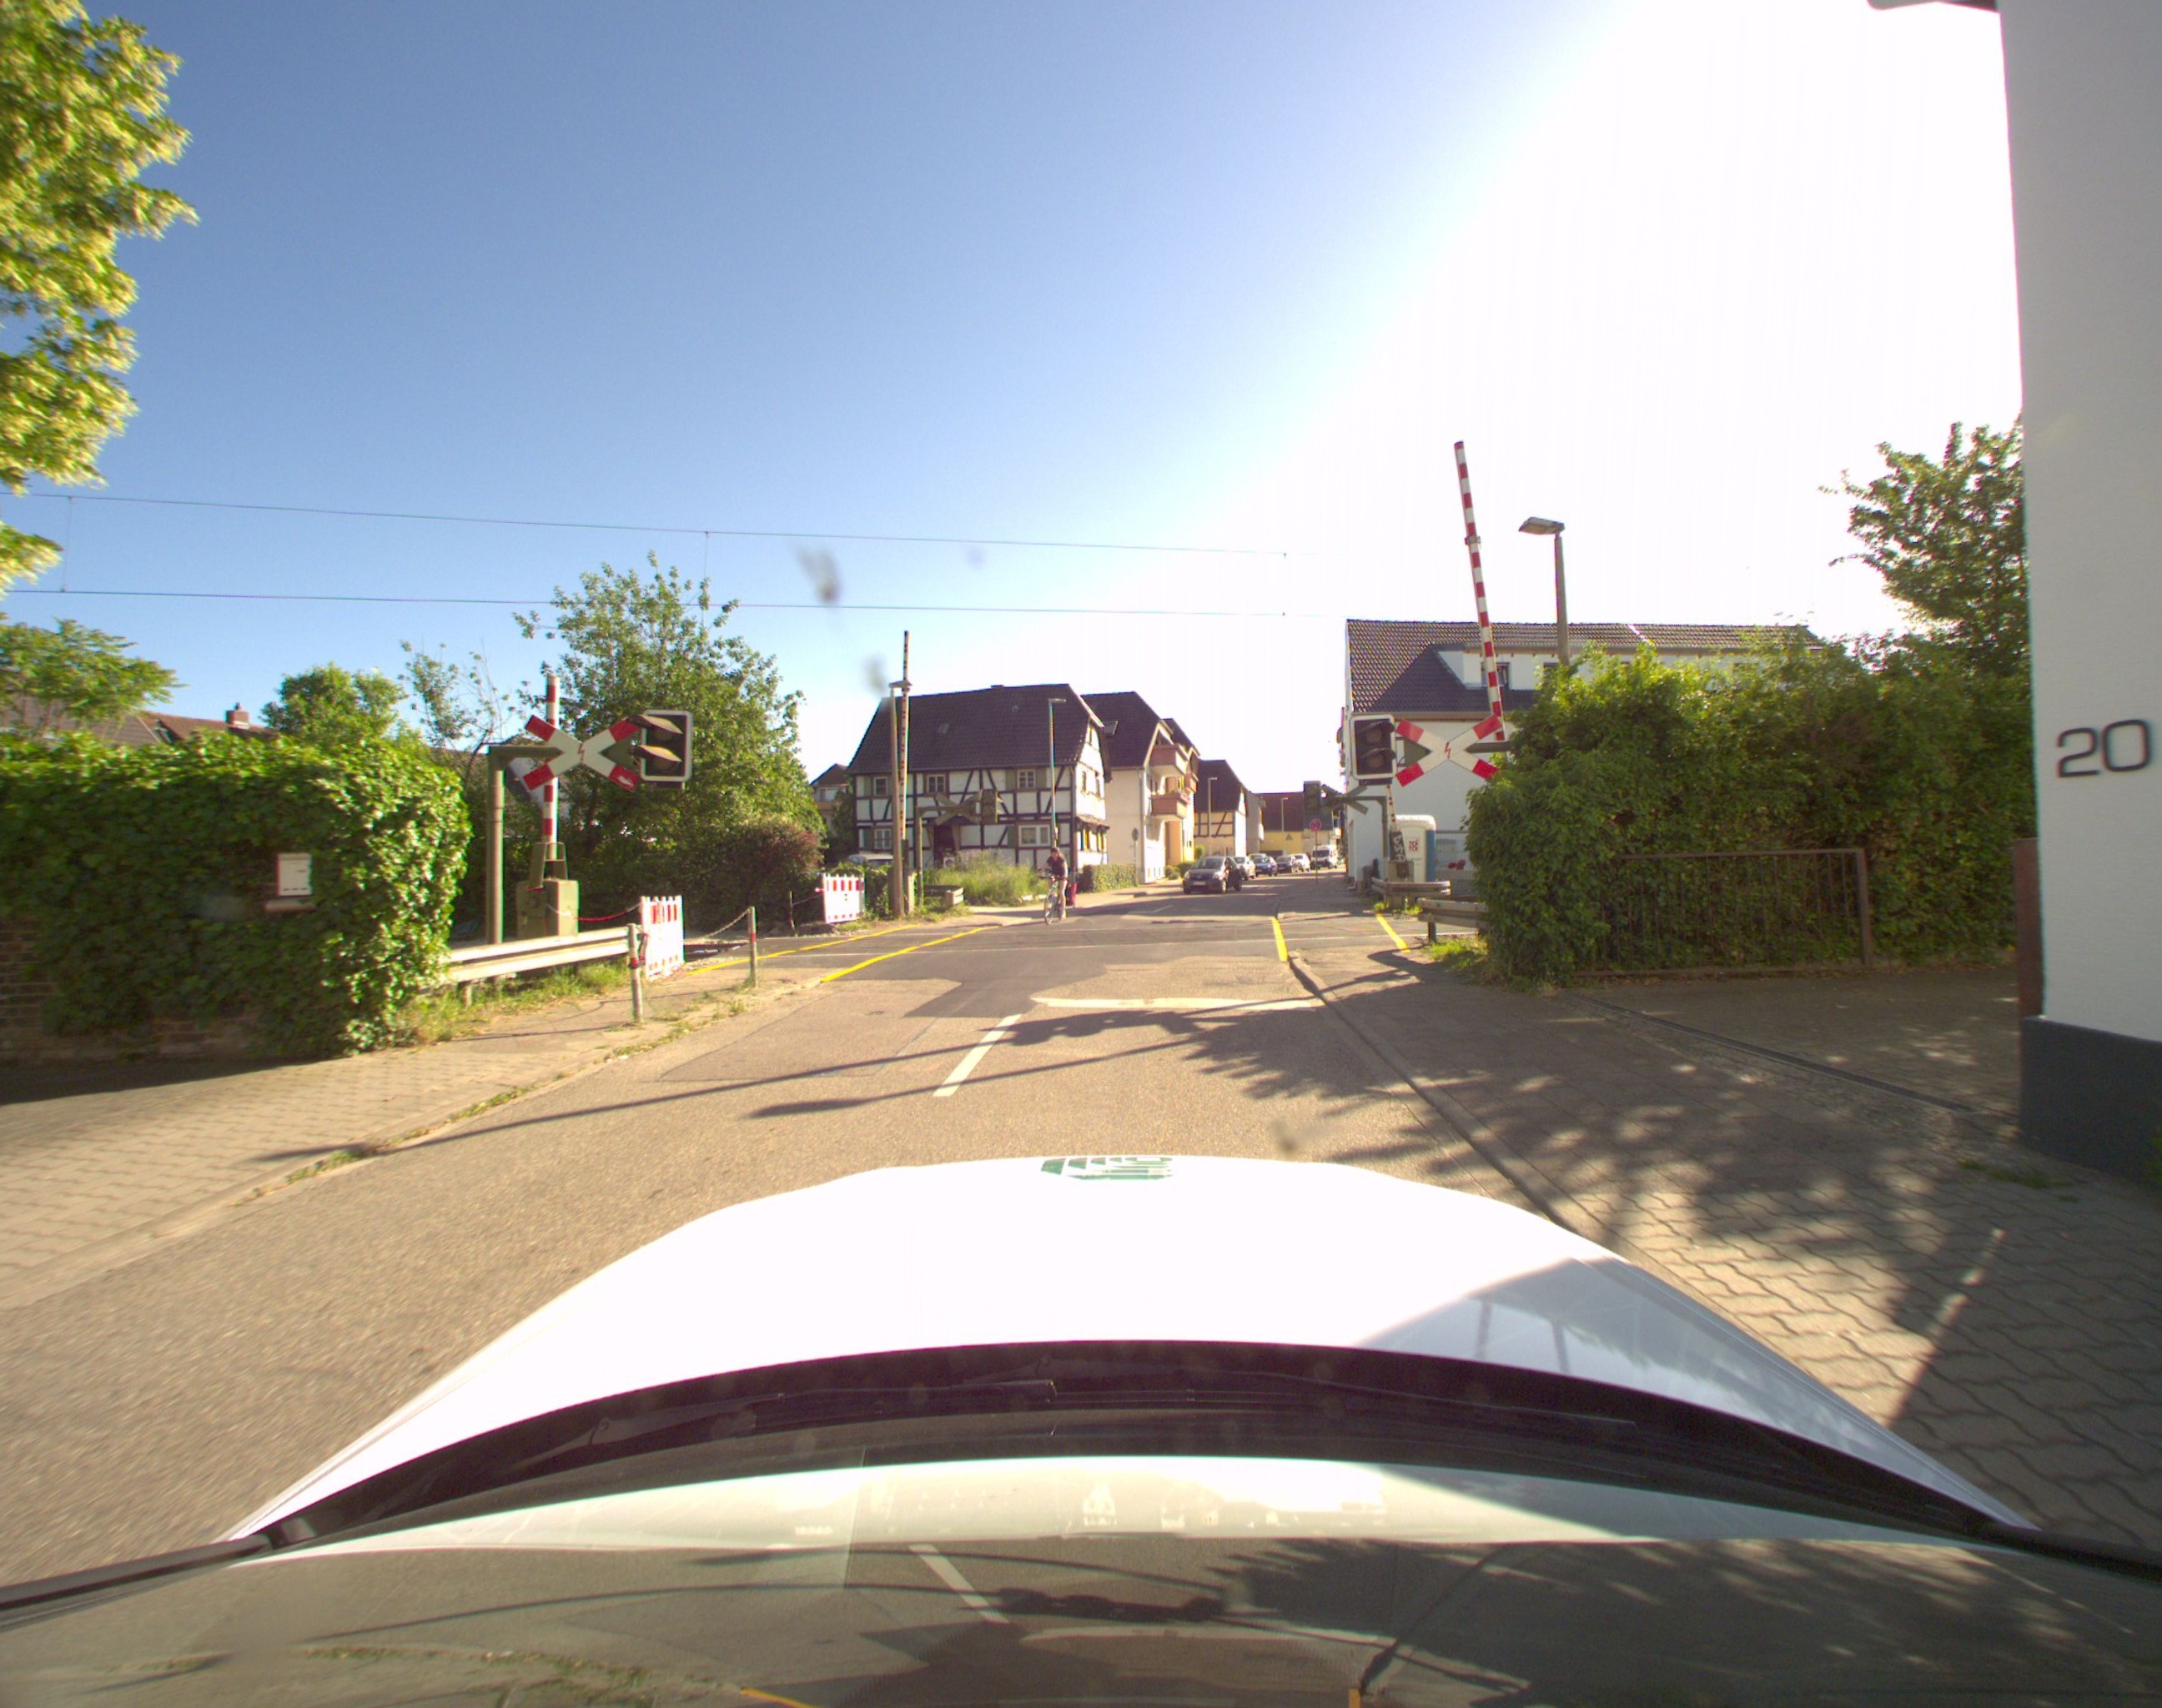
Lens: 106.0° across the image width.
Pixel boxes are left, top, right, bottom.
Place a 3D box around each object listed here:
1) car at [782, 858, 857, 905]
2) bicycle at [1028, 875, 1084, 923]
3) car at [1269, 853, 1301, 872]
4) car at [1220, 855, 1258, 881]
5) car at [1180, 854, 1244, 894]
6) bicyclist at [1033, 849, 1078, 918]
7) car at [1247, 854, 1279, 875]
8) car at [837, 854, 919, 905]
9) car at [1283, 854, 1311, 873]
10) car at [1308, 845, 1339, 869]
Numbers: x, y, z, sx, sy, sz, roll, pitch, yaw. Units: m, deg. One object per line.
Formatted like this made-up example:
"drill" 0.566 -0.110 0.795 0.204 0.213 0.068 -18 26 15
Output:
"car" -8.585 0.859 26.572 1.647 1.402 3.796 -1 0 -29
"bicycle" -0.551 1.011 18.860 0.878 1.005 2.068 -2 -2 9
"car" 17.222 0.717 68.645 1.688 1.519 4.145 -4 -2 25
"car" 10.068 0.875 51.772 1.659 1.506 4.115 -3 -1 21
"car" 5.483 0.792 33.724 1.671 1.510 3.675 -3 -1 24
"bicyclist" -0.575 0.679 18.881 0.843 1.541 0.875 -2 -2 9
"car" 13.386 0.770 59.802 1.624 1.441 4.096 -3 -1 21
"car" -6.900 0.825 27.403 1.693 1.564 3.963 1 -1 -29
"car" 19.351 0.819 72.757 1.658 1.572 3.988 -3 -1 25
"car" 25.183 0.308 84.460 2.057 2.394 5.239 -3 -1 27
